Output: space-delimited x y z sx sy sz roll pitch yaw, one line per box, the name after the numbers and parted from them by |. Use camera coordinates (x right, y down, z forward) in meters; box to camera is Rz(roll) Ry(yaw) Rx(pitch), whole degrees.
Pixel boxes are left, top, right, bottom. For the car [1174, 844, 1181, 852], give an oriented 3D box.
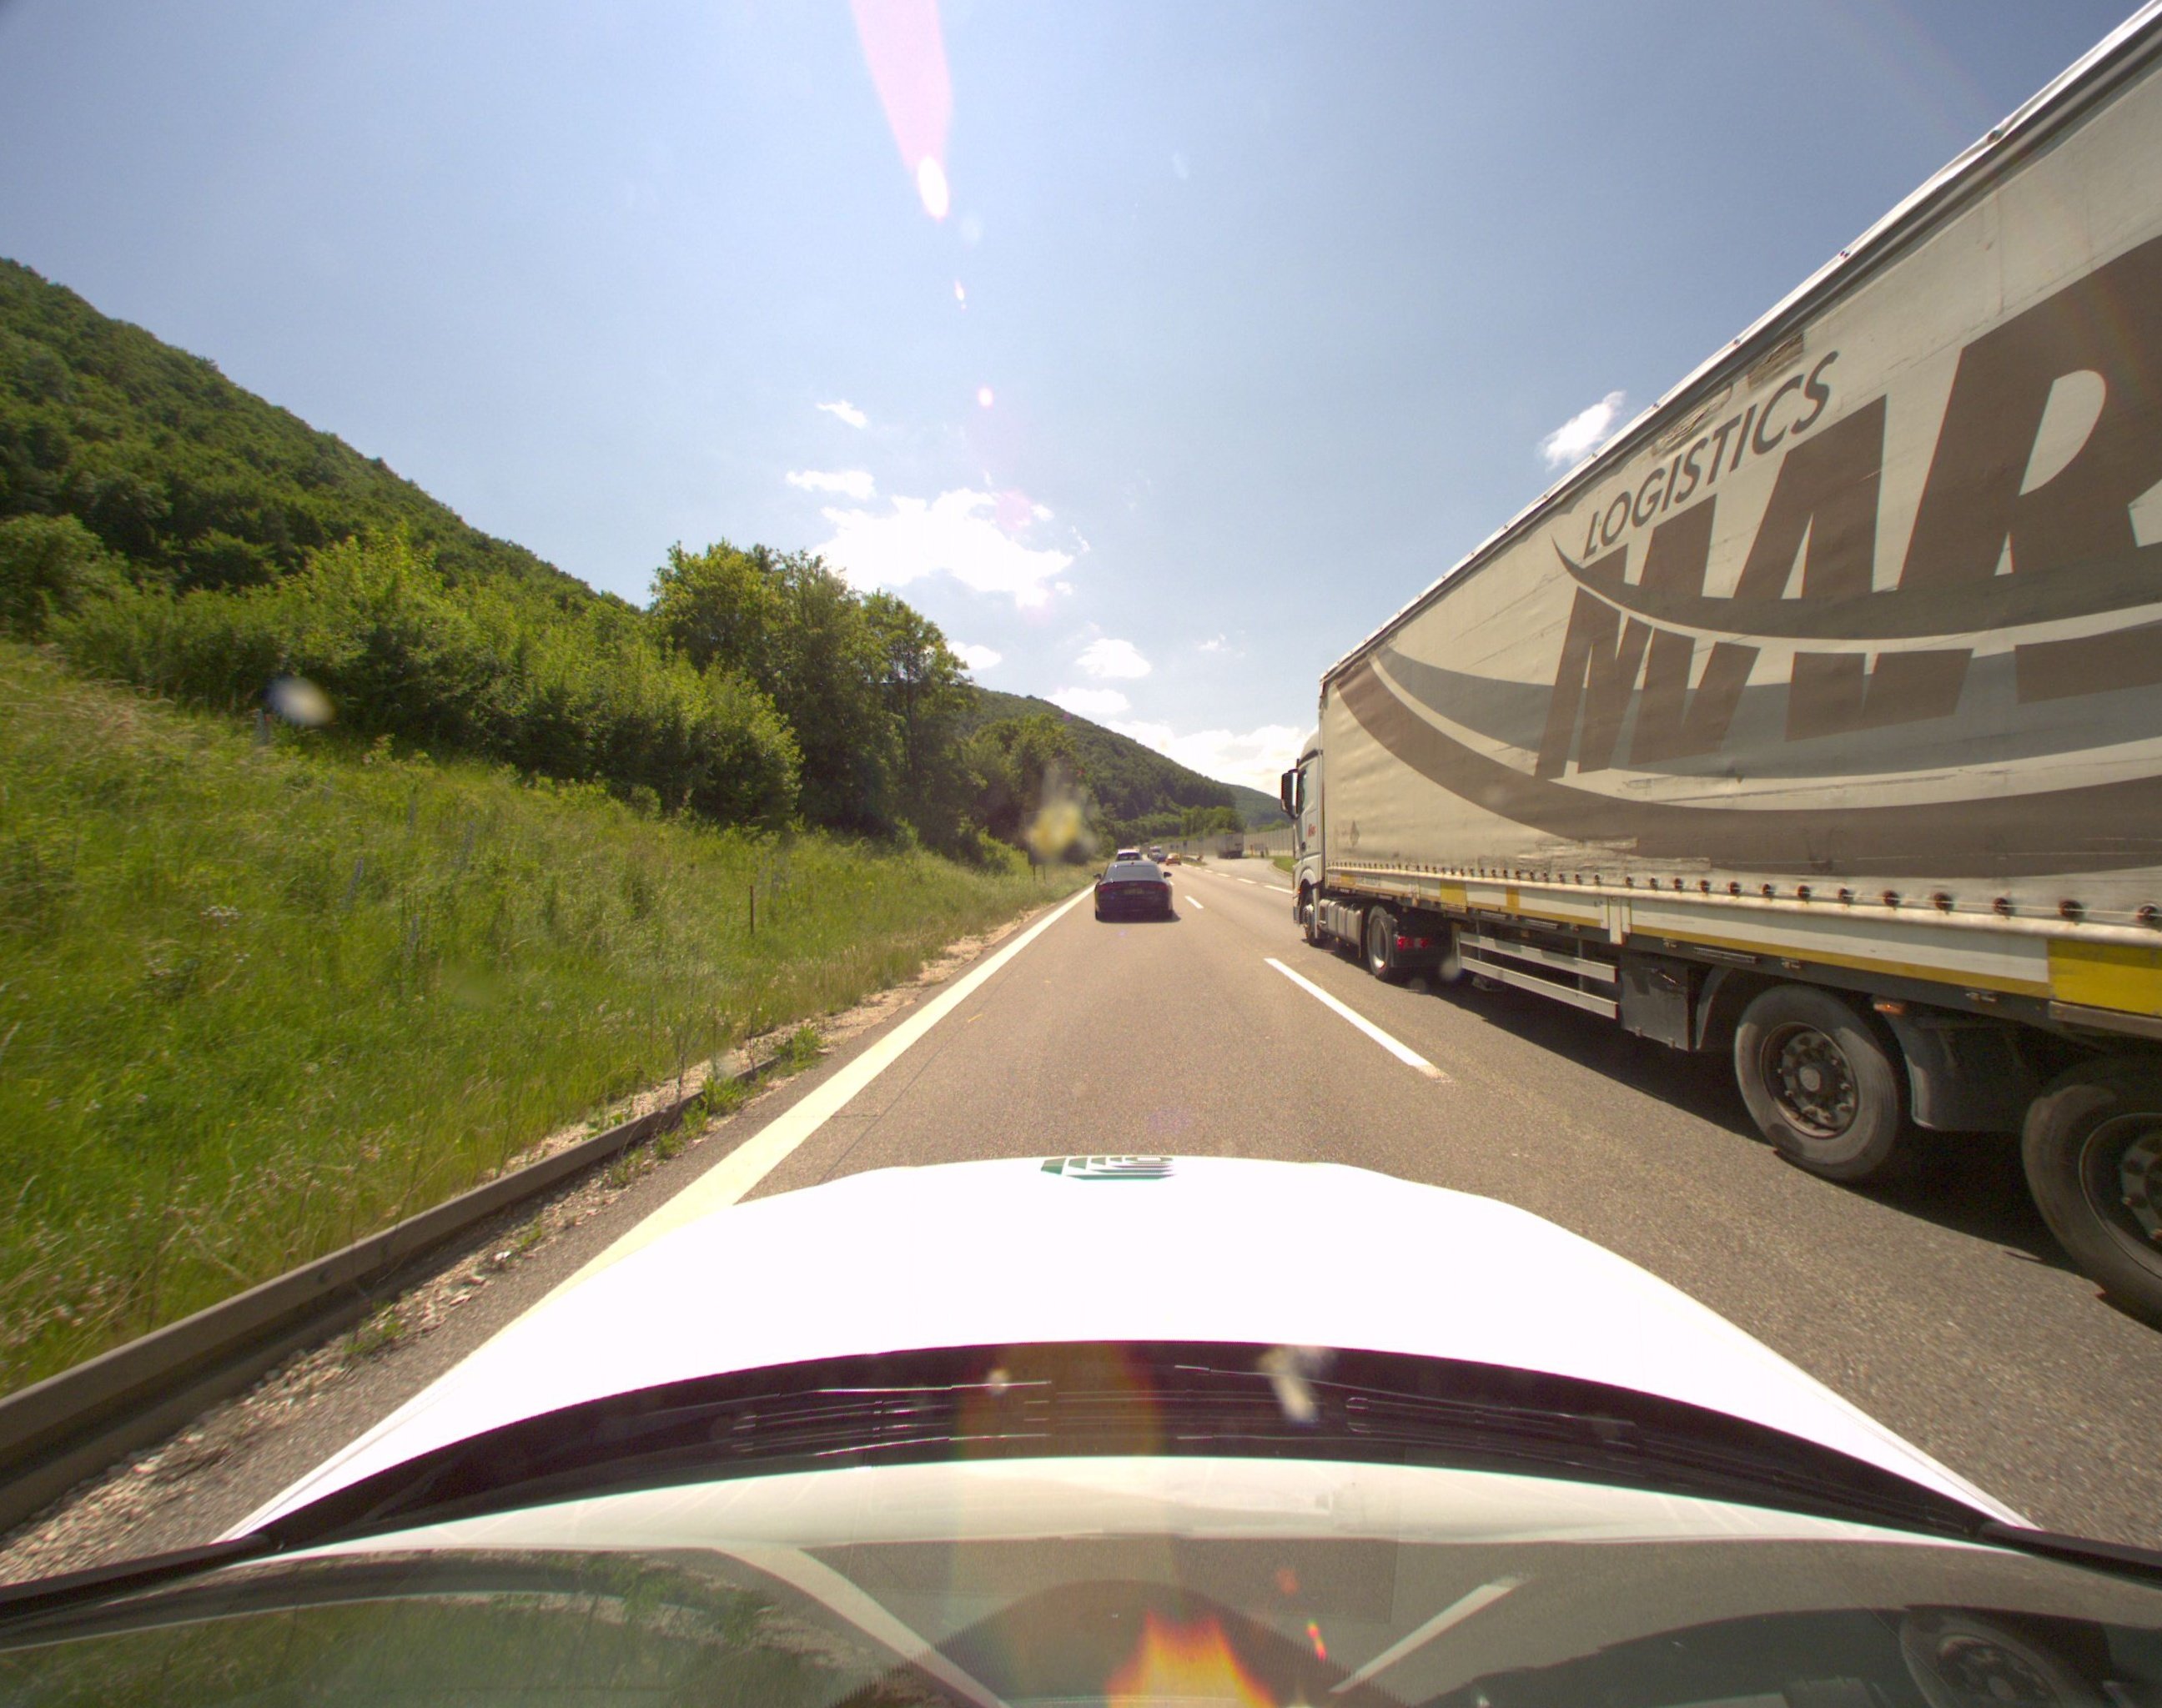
25.537 -1.509 214.631 1.569 2.013 3.432 -2 0 4 | car

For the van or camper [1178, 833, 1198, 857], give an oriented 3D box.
17.787 -1.442 135.376 2.784 3.841 6.170 0 -1 2 | van or camper

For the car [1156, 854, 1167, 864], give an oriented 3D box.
11.744 0.727 118.703 1.523 1.525 3.600 0 -1 4 | car

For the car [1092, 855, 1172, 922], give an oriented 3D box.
1.320 0.812 20.522 1.803 1.514 3.519 -1 0 5 | car

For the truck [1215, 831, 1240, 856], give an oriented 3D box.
23.648 -1.658 131.626 3.397 3.900 5.393 -2 0 3 | truck

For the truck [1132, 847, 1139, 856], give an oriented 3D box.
15.746 -0.725 235.253 2.054 2.605 5.623 0 0 6 | truck

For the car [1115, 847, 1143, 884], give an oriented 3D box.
2.702 0.629 46.001 1.515 1.968 3.517 0 -1 3 | car

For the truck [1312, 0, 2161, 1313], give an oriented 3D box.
4.549 -0.697 5.139 2.715 4.068 13.747 -1 -1 2 | truck

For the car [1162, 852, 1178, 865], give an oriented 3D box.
11.300 0.571 103.203 1.870 1.499 4.005 -2 0 4 | car

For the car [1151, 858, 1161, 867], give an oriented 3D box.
12.662 1.392 137.523 1.523 1.525 3.600 0 -1 4 | car

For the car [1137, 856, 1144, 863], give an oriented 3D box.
13.580 1.320 186.118 1.514 1.553 3.517 0 0 3 | car

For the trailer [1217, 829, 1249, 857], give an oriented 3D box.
23.292 -1.635 125.606 3.397 3.900 11.162 -2 0 4 | trailer

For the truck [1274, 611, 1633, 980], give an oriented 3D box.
4.818 -0.616 11.950 2.709 4.068 5.756 -1 -1 2 | truck

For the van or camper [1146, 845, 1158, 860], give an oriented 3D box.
18.914 -0.437 216.246 2.784 3.907 6.170 0 -1 2 | van or camper

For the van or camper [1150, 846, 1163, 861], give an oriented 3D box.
15.535 -0.082 167.390 2.418 3.155 5.209 0 -1 4 | van or camper
